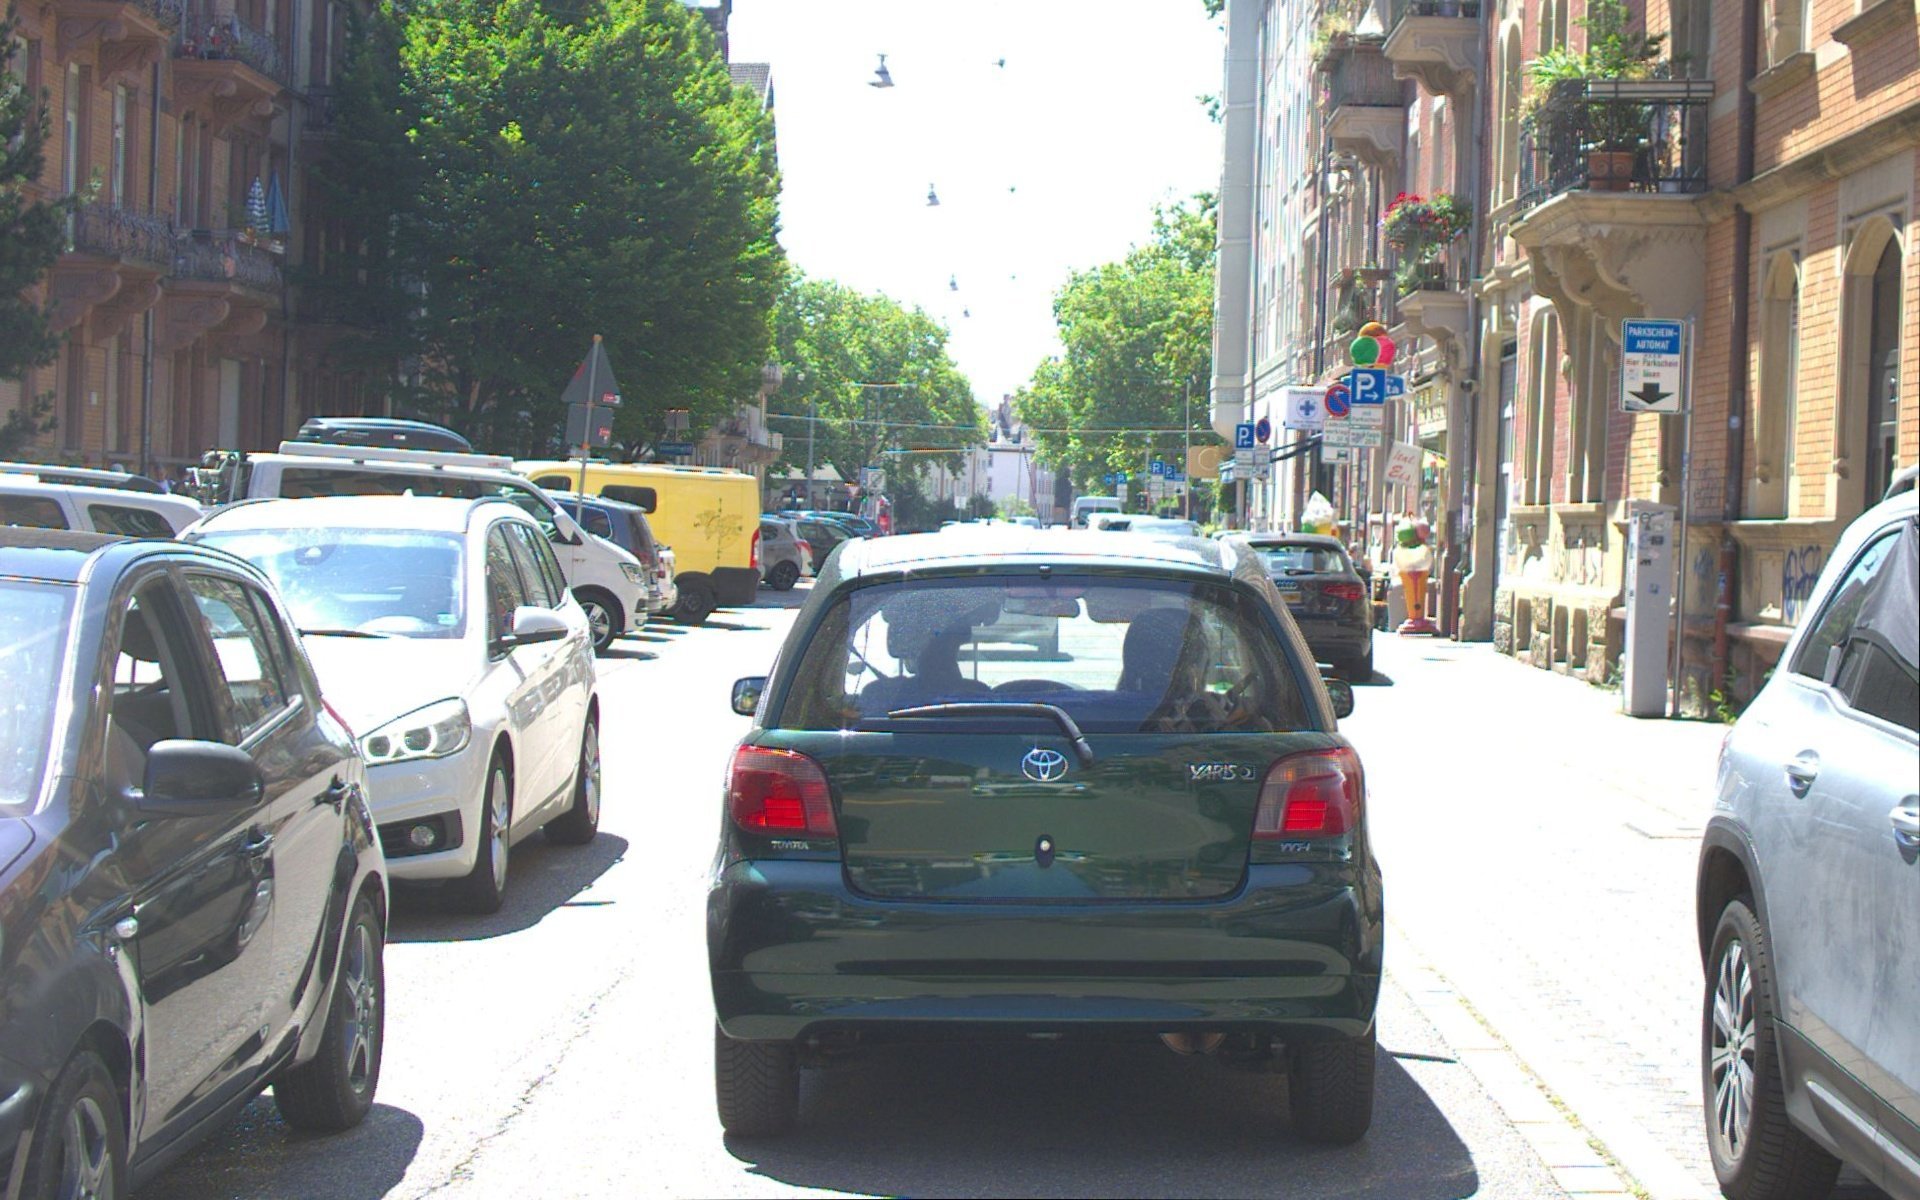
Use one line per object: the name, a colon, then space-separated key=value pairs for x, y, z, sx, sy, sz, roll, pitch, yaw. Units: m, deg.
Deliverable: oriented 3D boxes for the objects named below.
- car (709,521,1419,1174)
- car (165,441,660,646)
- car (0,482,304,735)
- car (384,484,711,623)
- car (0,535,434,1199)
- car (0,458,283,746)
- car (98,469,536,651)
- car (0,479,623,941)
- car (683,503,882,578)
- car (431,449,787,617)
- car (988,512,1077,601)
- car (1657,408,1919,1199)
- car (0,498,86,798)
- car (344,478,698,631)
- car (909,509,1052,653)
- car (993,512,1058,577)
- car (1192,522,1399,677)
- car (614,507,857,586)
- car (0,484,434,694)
car: x=0.181 y=0.534 z=9.508 sx=1.613 sy=1.480 sz=3.241 roll=1 pitch=1 yaw=-2
car: x=-5.865 y=-0.601 z=36.875 sx=4.772 sy=1.987 sz=2.054 roll=2 pitch=1 yaw=-27
car: x=-6.603 y=0.009 z=23.251 sx=3.909 sy=1.613 sz=1.866 roll=2 pitch=1 yaw=-22
car: x=-5.406 y=-0.612 z=44.972 sx=3.861 sy=1.634 sz=1.786 roll=2 pitch=1 yaw=-22
car: x=-2.332 y=0.598 z=7.081 sx=1.754 sy=1.439 sz=4.000 roll=2 pitch=1 yaw=2
car: x=-6.140 y=-0.032 z=19.845 sx=3.911 sy=1.613 sz=1.865 roll=1 pitch=2 yaw=-39
car: x=-6.362 y=-0.400 z=33.953 sx=3.909 sy=1.613 sz=1.866 roll=2 pitch=1 yaw=-22
car: x=-2.582 y=0.350 z=14.519 sx=1.754 sy=1.639 sz=4.377 roll=-1 pitch=1 yaw=2
car: x=-4.558 y=-1.530 z=88.294 sx=4.606 sy=1.720 sz=2.001 roll=2 pitch=1 yaw=-25
car: x=-4.993 y=-0.955 z=48.909 sx=4.557 sy=2.180 sz=2.001 roll=2 pitch=1 yaw=-25
car: x=1.408 y=-0.856 z=65.619 sx=1.522 sy=1.587 sz=3.263 roll=2 pitch=2 yaw=3
car: x=2.581 y=0.527 z=6.181 sx=1.871 sy=1.707 sz=4.504 roll=1 pitch=1 yaw=2
car: x=-6.495 y=0.168 z=16.688 sx=3.910 sy=1.465 sz=1.866 roll=1 pitch=2 yaw=-36
car: x=-5.394 y=-0.562 z=42.186 sx=3.909 sy=1.702 sz=1.866 roll=2 pitch=1 yaw=-22
car: x=0.245 y=-0.253 z=39.395 sx=1.522 sy=1.516 sz=3.264 roll=2 pitch=2 yaw=1
car: x=1.669 y=-1.442 z=88.420 sx=1.522 sy=1.587 sz=3.264 roll=2 pitch=2 yaw=0
car: x=3.310 y=-0.048 z=34.570 sx=1.754 sy=1.424 sz=4.000 roll=2 pitch=1 yaw=2
car: x=-4.649 y=-1.103 z=71.240 sx=4.557 sy=1.423 sz=2.001 roll=2 pitch=1 yaw=-25
car: x=-6.615 y=-0.107 z=29.043 sx=3.909 sy=1.613 sz=1.866 roll=2 pitch=1 yaw=-22
